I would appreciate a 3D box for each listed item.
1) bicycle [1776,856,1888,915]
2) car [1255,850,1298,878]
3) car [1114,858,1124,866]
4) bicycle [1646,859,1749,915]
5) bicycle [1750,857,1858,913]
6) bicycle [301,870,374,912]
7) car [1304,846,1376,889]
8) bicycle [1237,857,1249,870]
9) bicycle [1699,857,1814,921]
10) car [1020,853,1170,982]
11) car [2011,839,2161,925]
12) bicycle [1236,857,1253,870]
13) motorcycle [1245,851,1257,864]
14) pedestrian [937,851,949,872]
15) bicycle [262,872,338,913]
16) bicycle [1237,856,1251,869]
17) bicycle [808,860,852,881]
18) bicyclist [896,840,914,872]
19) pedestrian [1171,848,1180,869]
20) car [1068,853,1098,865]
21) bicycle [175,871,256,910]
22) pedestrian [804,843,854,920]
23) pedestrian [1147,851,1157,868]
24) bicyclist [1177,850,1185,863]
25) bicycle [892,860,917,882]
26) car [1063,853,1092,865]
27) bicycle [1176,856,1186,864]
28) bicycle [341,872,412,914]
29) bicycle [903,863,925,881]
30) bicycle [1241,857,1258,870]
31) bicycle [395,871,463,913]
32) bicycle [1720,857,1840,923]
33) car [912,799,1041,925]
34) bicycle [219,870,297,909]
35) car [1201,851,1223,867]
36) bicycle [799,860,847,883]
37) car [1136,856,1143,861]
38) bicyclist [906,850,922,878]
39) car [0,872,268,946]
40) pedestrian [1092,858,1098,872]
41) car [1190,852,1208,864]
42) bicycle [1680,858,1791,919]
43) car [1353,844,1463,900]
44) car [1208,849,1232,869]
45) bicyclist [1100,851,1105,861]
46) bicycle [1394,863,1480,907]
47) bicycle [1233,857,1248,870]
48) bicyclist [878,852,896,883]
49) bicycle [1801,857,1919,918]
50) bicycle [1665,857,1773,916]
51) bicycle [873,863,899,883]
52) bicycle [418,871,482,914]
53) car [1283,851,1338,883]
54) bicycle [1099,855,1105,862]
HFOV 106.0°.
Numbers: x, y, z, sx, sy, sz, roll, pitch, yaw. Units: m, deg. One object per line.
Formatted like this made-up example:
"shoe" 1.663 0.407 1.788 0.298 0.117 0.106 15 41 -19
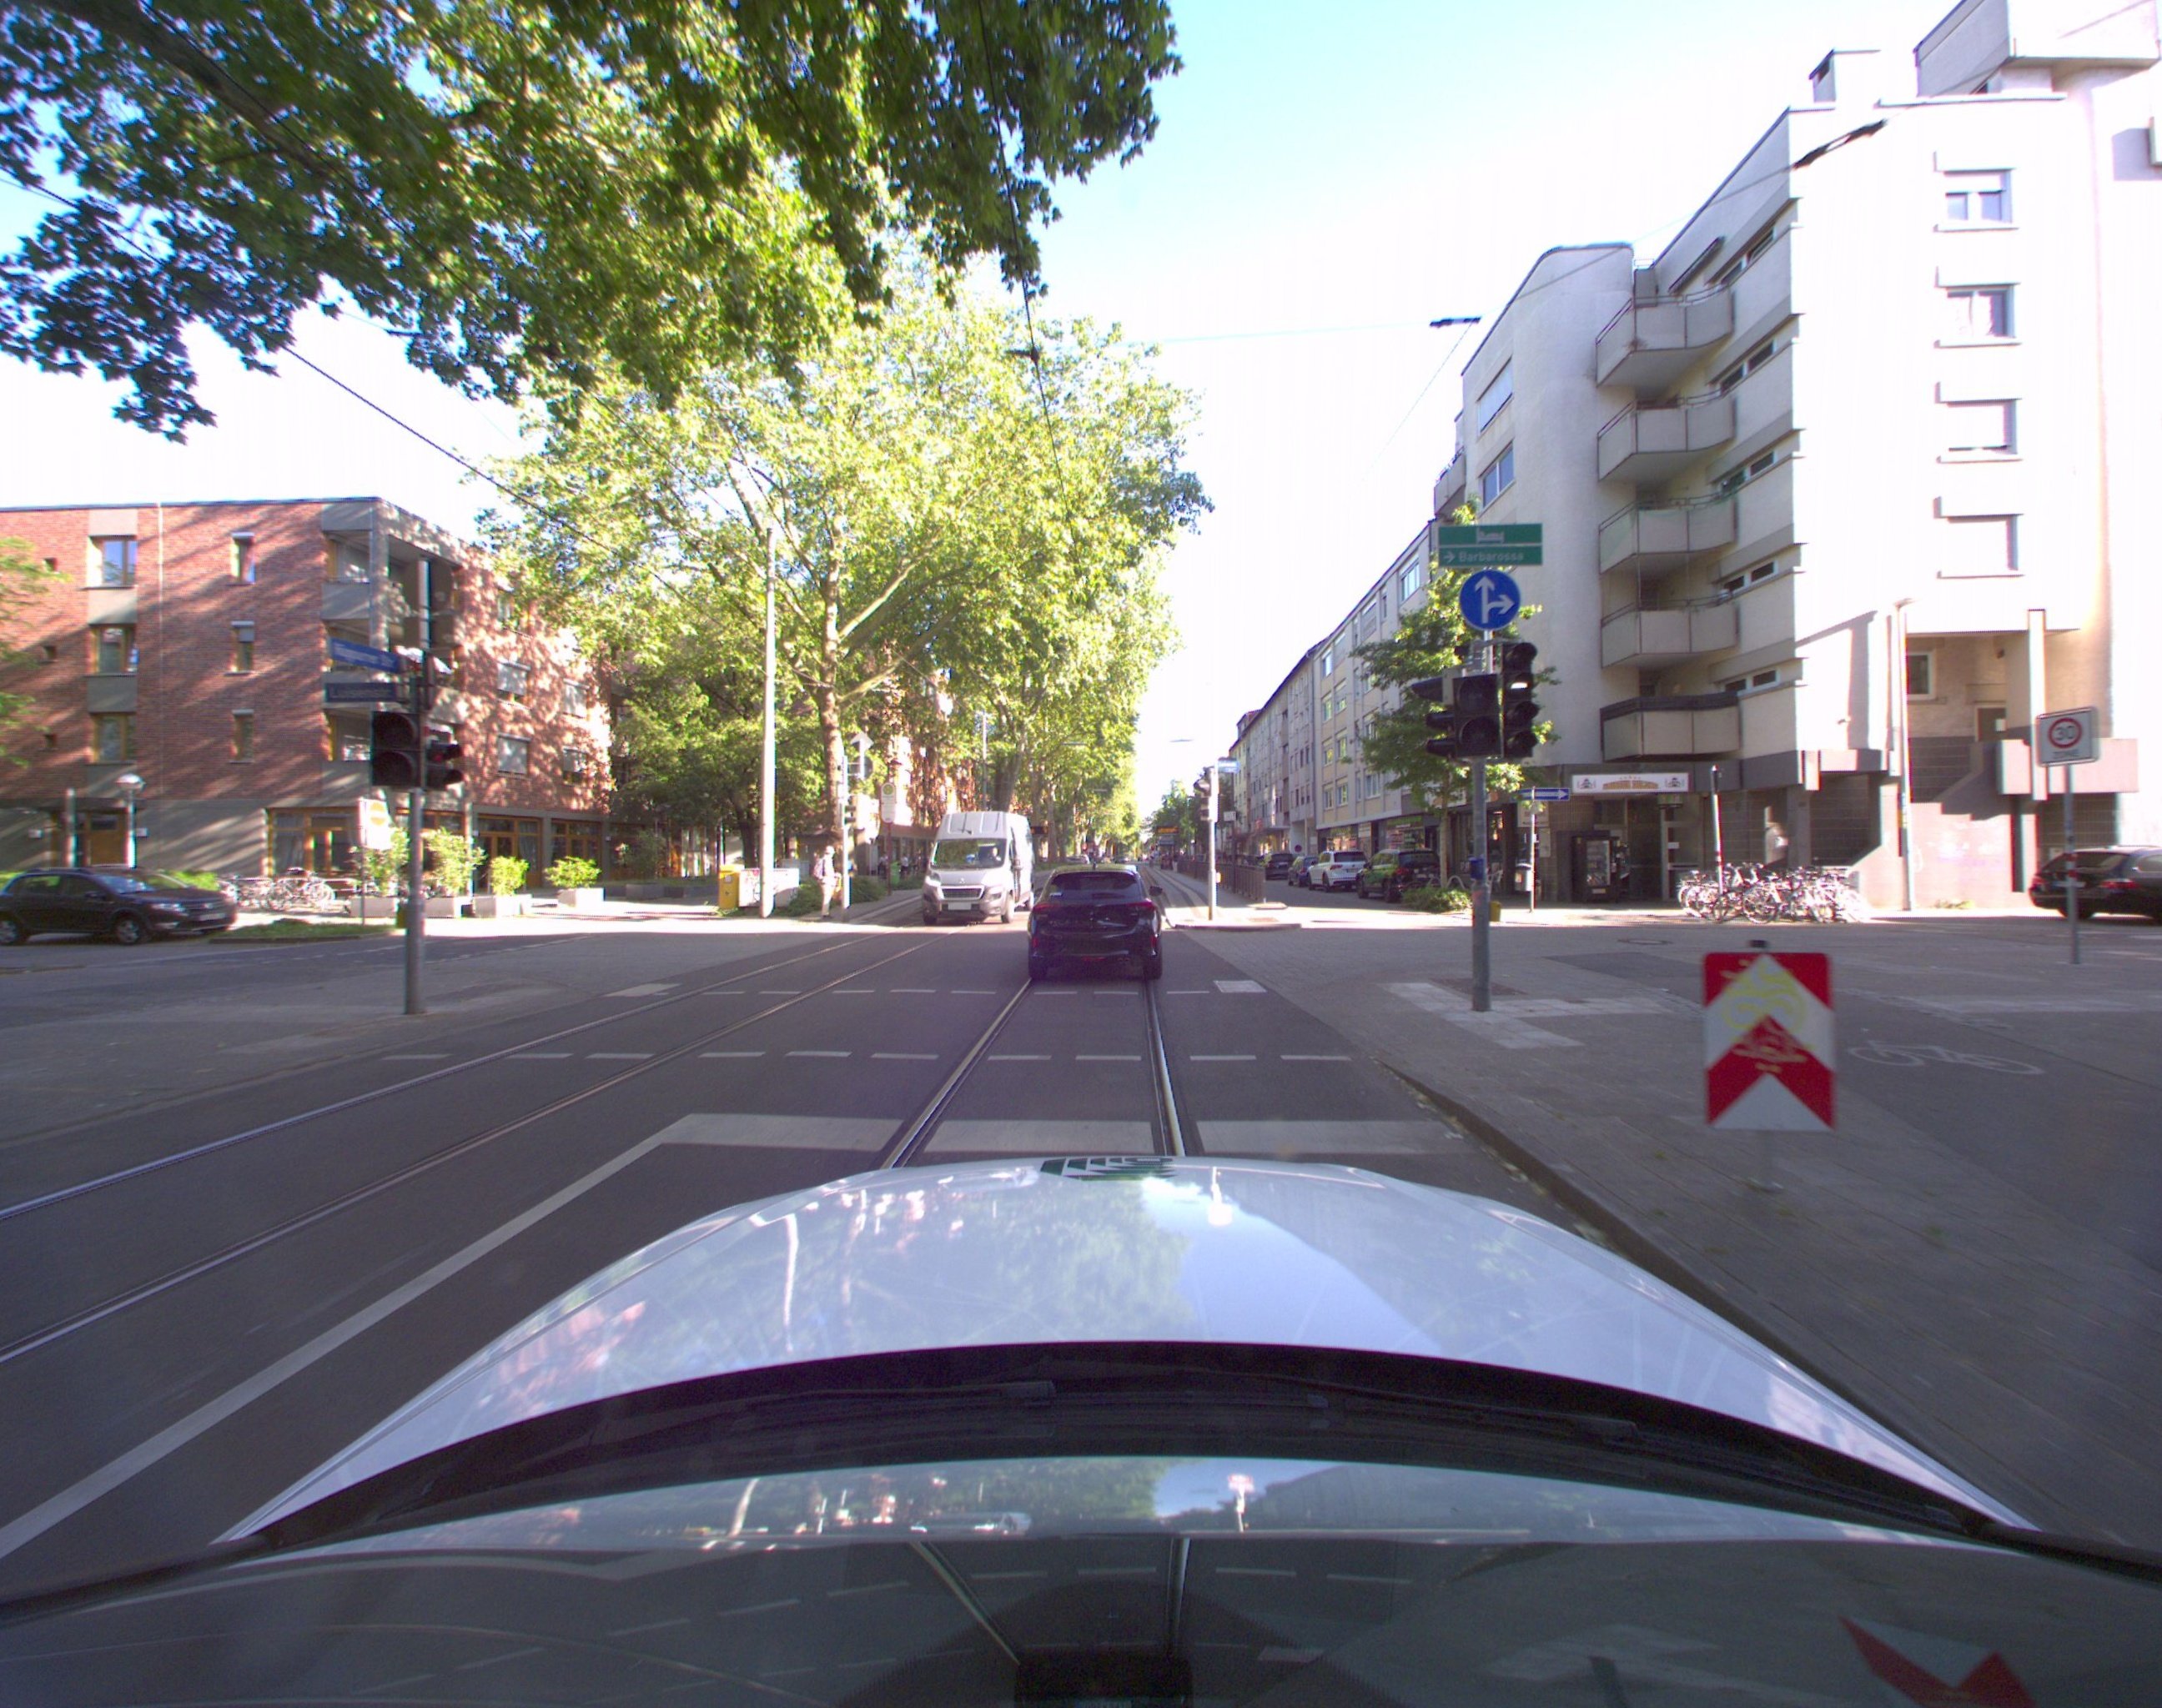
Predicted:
"bicycle" 15.731 0.662 17.078 1.908 1.208 0.511 0 -1 -1
"car" 11.754 0.608 49.196 1.849 1.615 4.402 0 -1 4
"car" 7.435 1.590 159.605 1.738 1.544 4.002 0 -1 2
"bicycle" 13.654 0.721 18.047 1.908 1.208 0.511 0 -1 -1
"bicycle" 15.739 0.674 17.742 1.908 1.208 0.511 0 -1 -1
"bicycle" -21.399 1.055 23.472 0.539 1.084 1.640 0 2 2
"car" 10.455 0.534 33.196 1.791 1.606 4.419 0 -1 4
"bicycle" 14.786 0.850 74.189 0.410 1.136 2.198 0 -1 -7
"bicycle" 13.595 0.695 16.410 1.908 1.207 0.511 -1 1 -1
"car" 0.218 0.775 11.525 1.753 1.508 3.684 -1 -1 2
"car" 21.296 0.484 15.636 4.564 1.477 1.873 -1 2 4
"bicycle" 14.474 0.833 72.067 0.610 1.136 2.914 0 -1 -7
"motorcycle" 17.308 0.324 82.864 0.888 1.280 2.045 0 -1 4
"pedestrian" -10.784 0.604 63.841 0.732 1.672 0.861 0 -1 4
"bicycle" -22.442 1.096 23.431 0.539 1.084 1.640 0 1 2
"bicycle" 15.116 0.801 75.579 0.597 1.136 2.198 0 -1 -7
"bicycle" -14.453 0.939 46.942 2.330 1.166 0.683 1 -1 4
"bicyclist" -9.799 0.111 45.444 0.779 1.763 0.951 0 -1 1
"pedestrian" 7.375 0.358 63.396 0.628 1.576 0.871 2 0 4
"car" 0.252 0.742 113.664 4.105 1.701 1.881 0 -1 -4
"bicycle" -25.192 1.036 23.745 0.539 1.084 1.639 0 -1 2
"pedestrian" -6.205 0.658 20.088 0.921 1.835 0.920 0 2 0
"pedestrian" 7.159 0.519 82.328 0.742 1.709 0.768 -1 -1 38
"bicyclist" 13.353 0.301 108.969 0.859 1.759 1.052 0 -1 -3
"bicycle" -9.818 0.912 45.466 0.779 1.191 2.596 0 -1 1
"car" -0.611 0.758 125.685 4.375 1.851 1.997 0 -1 -4
"bicycle" 13.357 0.824 108.869 0.859 1.136 2.393 0 -1 -2
"bicycle" -20.133 1.090 23.324 0.539 1.084 1.640 0 1 2
"bicycle" -10.513 1.102 51.329 0.779 1.111 2.596 0 -1 1
"bicycle" 14.103 0.792 68.118 0.621 1.136 2.433 0 -1 -7
"bicycle" -18.459 1.057 23.088 0.539 1.084 1.640 0 2 2
"bicycle" 13.607 0.696 15.881 1.908 1.207 0.511 -1 1 -1
"car" -2.462 0.204 21.062 2.104 2.738 6.120 -2 -1 4
"bicycle" -23.860 1.011 23.649 0.539 1.084 1.639 0 -1 2
"car" 14.437 0.566 90.131 1.985 1.797 4.003 0 -1 3
"bicycle" -14.626 0.972 46.225 2.447 1.219 0.683 1 -1 4
"car" 17.264 1.408 240.610 1.738 1.544 4.002 0 -1 2
"bicyclist" -10.525 0.630 51.224 0.771 1.750 0.998 0 -1 1
"car" -20.879 1.158 17.936 3.971 1.508 2.001 0 -1 2
"pedestrian" 2.054 1.577 117.852 0.670 2.013 0.704 1 0 15
"car" 14.792 0.487 102.479 1.985 1.486 4.004 0 -1 4
"bicycle" 13.606 0.698 16.945 1.908 1.207 0.511 -1 0 -1
"car" 10.281 0.542 25.974 1.985 1.615 4.449 0 -1 4
"car" 14.243 0.498 83.544 1.985 1.952 4.003 0 -1 3
"bicyclist" 3.900 0.373 147.080 0.936 1.703 1.155 0 -1 7
"bicycle" 9.935 0.861 22.764 2.112 1.187 0.683 0 -1 11
"bicycle" 13.803 0.838 70.550 0.602 1.136 2.428 0 -1 -7
"bicyclist" -10.841 0.758 45.550 0.771 1.750 0.998 0 -1 1
"bicycle" 15.732 0.668 16.466 1.908 1.207 0.511 0 1 -1
"bicycle" 13.687 0.692 17.498 1.908 1.207 0.511 -1 0 -1
"bicycle" -10.860 1.041 45.545 0.779 1.111 2.596 0 -1 1
"bicycle" -17.834 1.069 23.062 0.539 1.084 1.538 0 2 2
"car" 10.860 0.622 38.813 1.736 1.440 4.251 0 -1 4
"bicycle" 3.782 0.865 146.166 0.950 1.240 2.983 0 -1 7
